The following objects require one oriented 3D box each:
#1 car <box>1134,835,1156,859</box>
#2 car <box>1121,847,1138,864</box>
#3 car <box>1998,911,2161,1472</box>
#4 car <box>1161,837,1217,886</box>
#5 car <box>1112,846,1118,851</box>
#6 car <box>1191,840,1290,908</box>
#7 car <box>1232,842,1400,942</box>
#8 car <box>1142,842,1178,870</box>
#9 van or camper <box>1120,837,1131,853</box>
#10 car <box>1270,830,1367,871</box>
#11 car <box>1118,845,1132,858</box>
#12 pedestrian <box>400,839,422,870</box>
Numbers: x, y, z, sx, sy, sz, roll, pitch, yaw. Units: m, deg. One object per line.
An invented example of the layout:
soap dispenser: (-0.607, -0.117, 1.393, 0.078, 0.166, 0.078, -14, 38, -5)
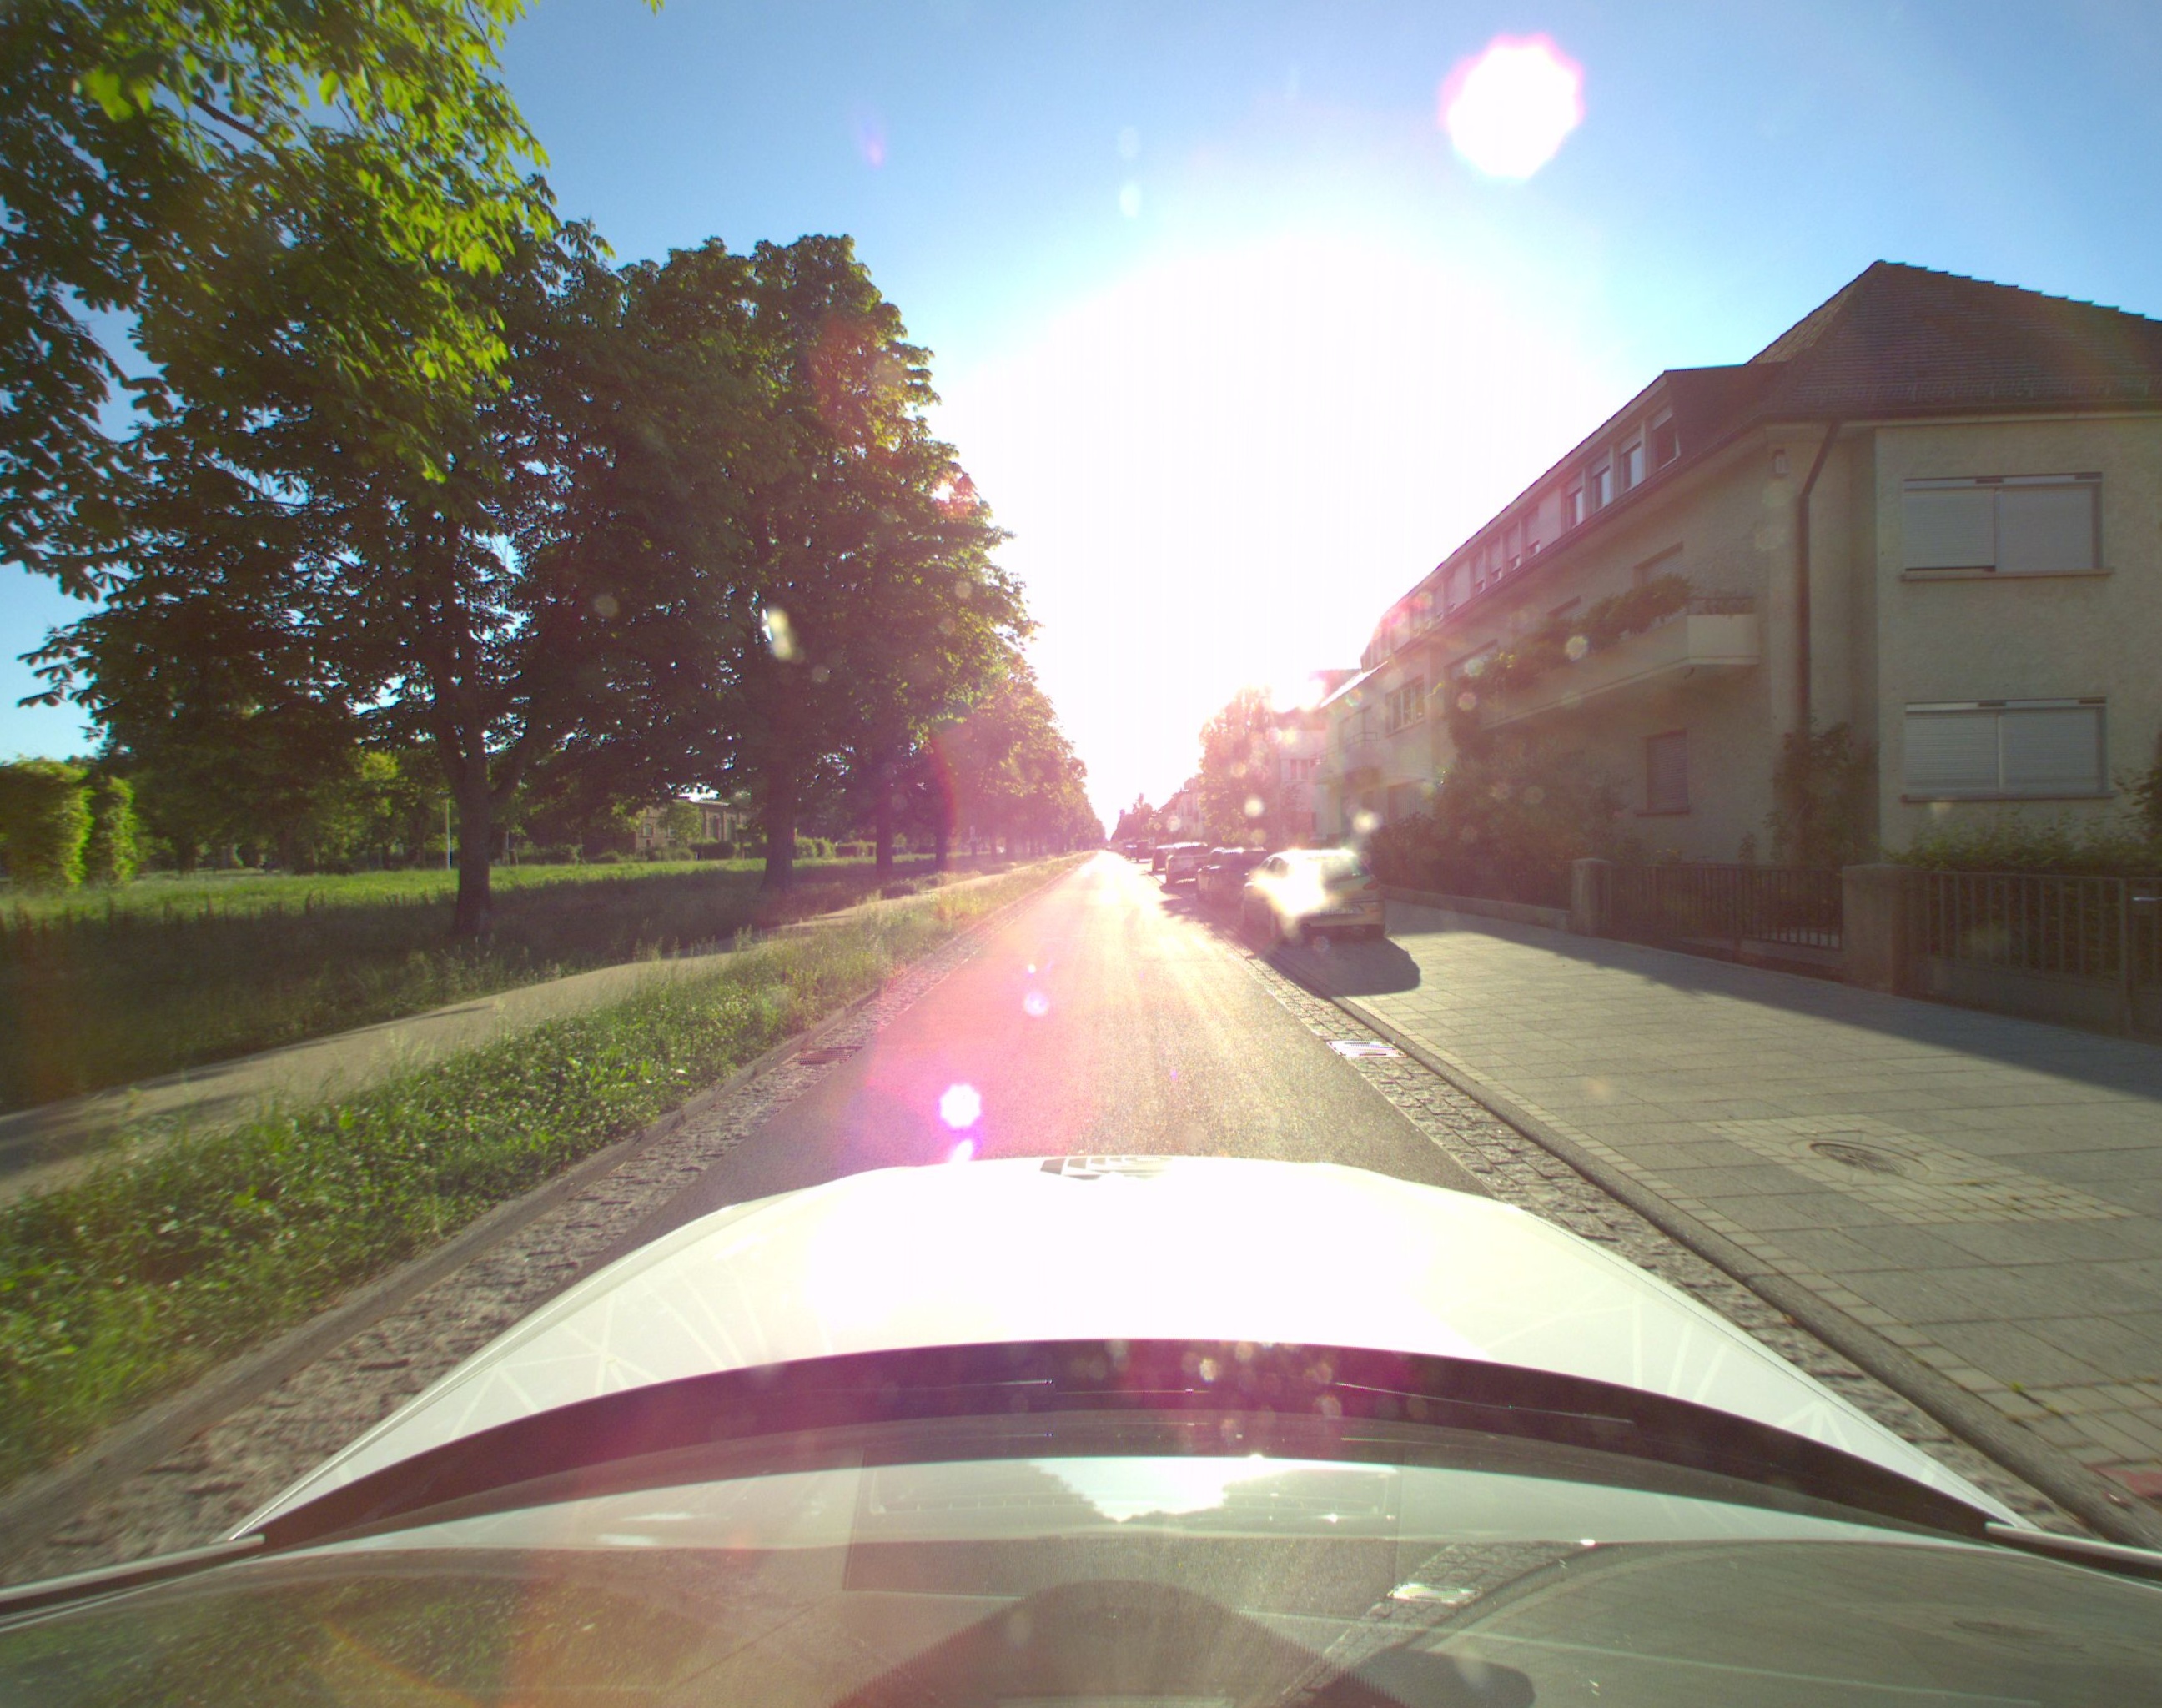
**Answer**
car: (6.065, -0.719, 77.855, 1.898, 2.131, 4.818, -3, 1, 3)
car: (5.565, 0.128, 94.300, 1.787, 1.771, 4.475, -3, 1, 2)
car: (3.259, 0.771, 0.230, 1.692, 1.257, 3.881, -2, 0, 2)
car: (4.246, 0.243, 32.588, 1.897, 1.708, 4.581, -3, 1, 4)
car: (10.662, -1.775, 257.411, 1.643, 1.530, 3.854, 3, 1, 3)
car: (3.972, 0.436, 20.909, 1.787, 1.494, 4.196, -3, 1, 2)
car: (3.829, 0.537, 14.010, 1.787, 1.380, 4.080, -3, 1, 2)
car: (4.621, 0.090, 47.934, 1.787, 1.482, 4.125, -3, 1, 2)
van or camper: (7.598, -1.524, 139.553, 1.936, 2.777, 5.943, 0, 0, 2)
car: (11.033, -0.181, 37.994, 3.975, 1.844, 1.813, 0, 2, -4)
car: (6.073, -0.361, 112.526, 1.825, 1.685, 4.418, 1, 1, 2)
pedestrian: (-37.228, 0.045, 45.262, 0.779, 1.724, 0.710, 0, 0, -27)
